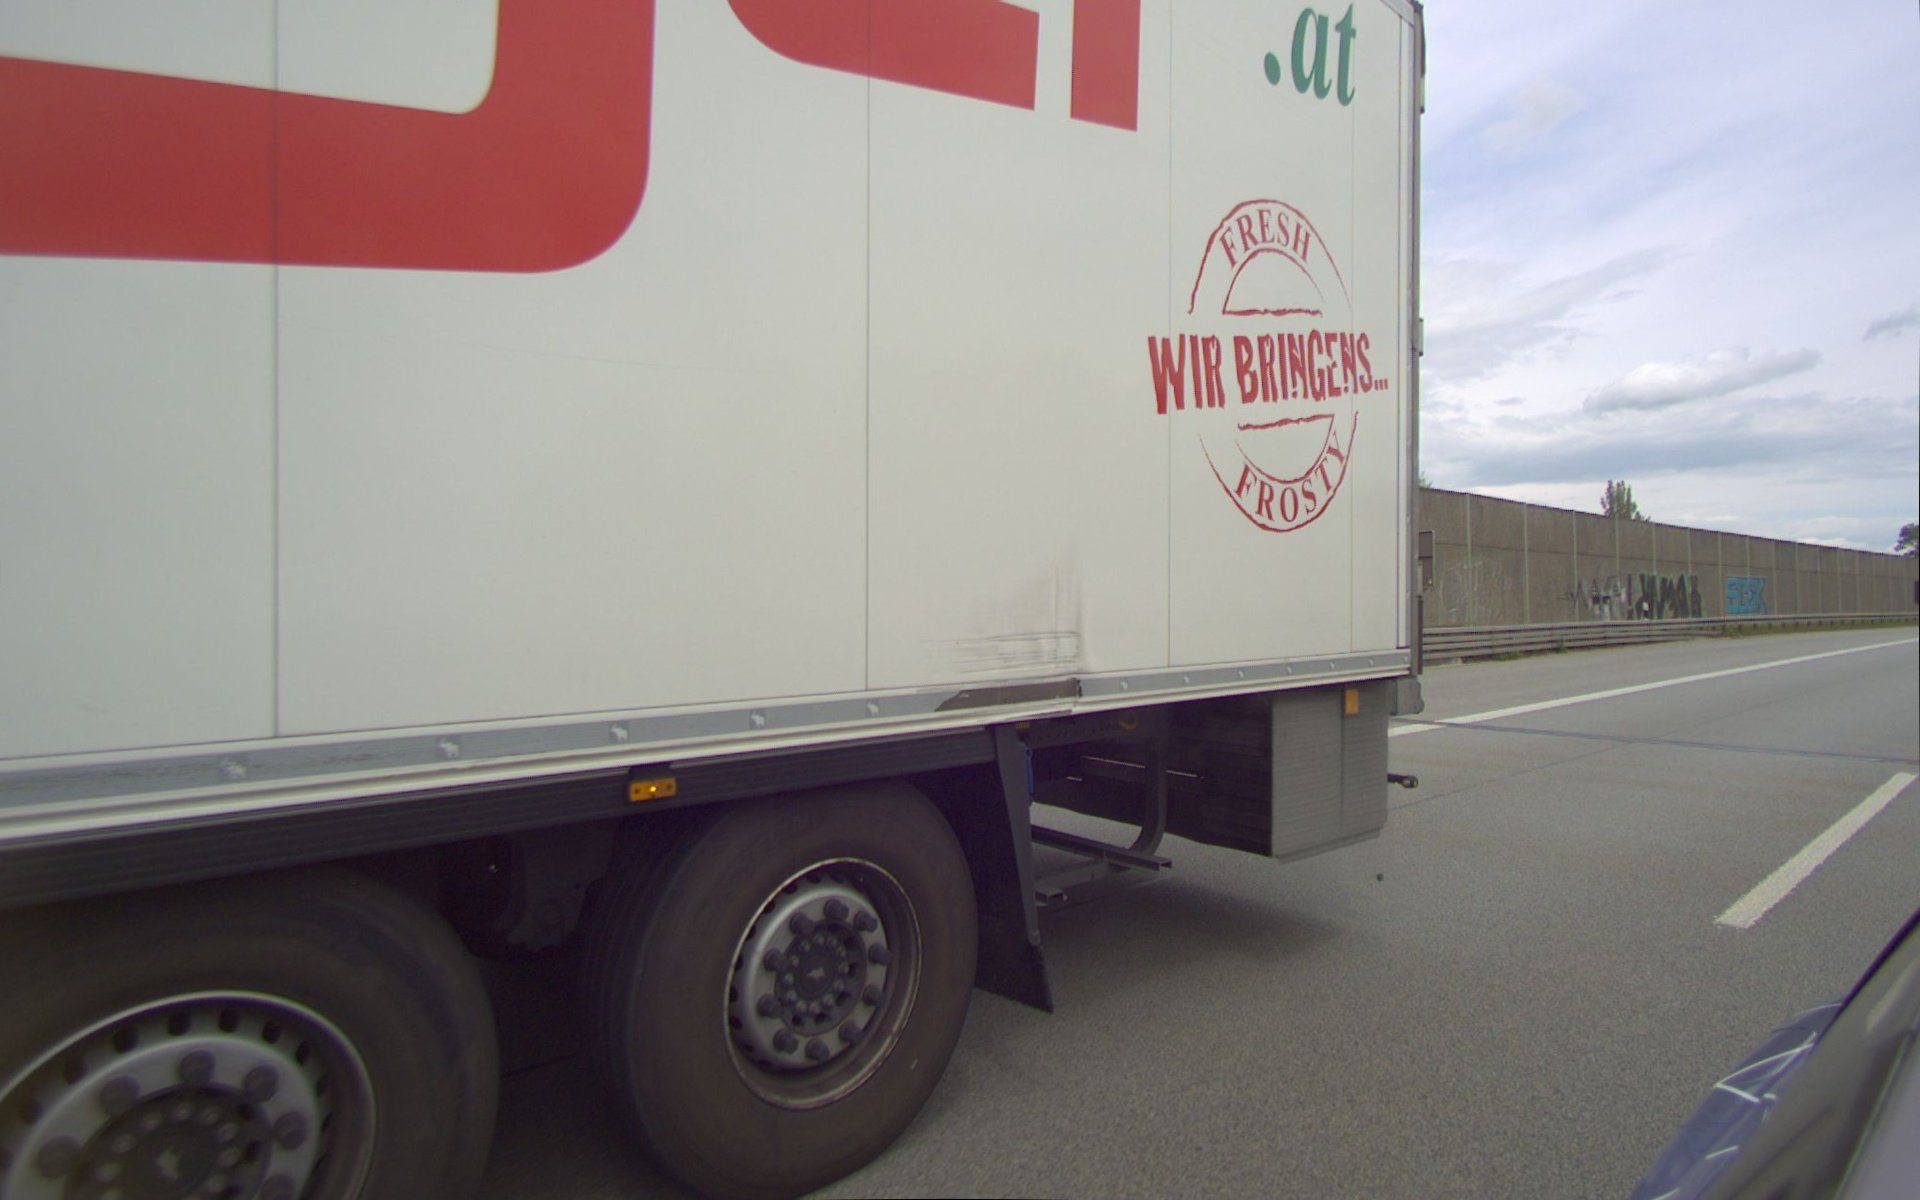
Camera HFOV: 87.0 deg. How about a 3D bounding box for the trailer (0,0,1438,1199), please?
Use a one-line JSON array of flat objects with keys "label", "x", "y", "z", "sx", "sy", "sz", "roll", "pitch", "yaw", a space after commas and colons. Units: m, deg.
[{"label": "trailer", "x": -4.211, "y": -0.717, "z": 0.597, "sx": 13.857, "sy": 4.227, "sz": 2.797, "roll": -1, "pitch": 0, "yaw": -41}]
